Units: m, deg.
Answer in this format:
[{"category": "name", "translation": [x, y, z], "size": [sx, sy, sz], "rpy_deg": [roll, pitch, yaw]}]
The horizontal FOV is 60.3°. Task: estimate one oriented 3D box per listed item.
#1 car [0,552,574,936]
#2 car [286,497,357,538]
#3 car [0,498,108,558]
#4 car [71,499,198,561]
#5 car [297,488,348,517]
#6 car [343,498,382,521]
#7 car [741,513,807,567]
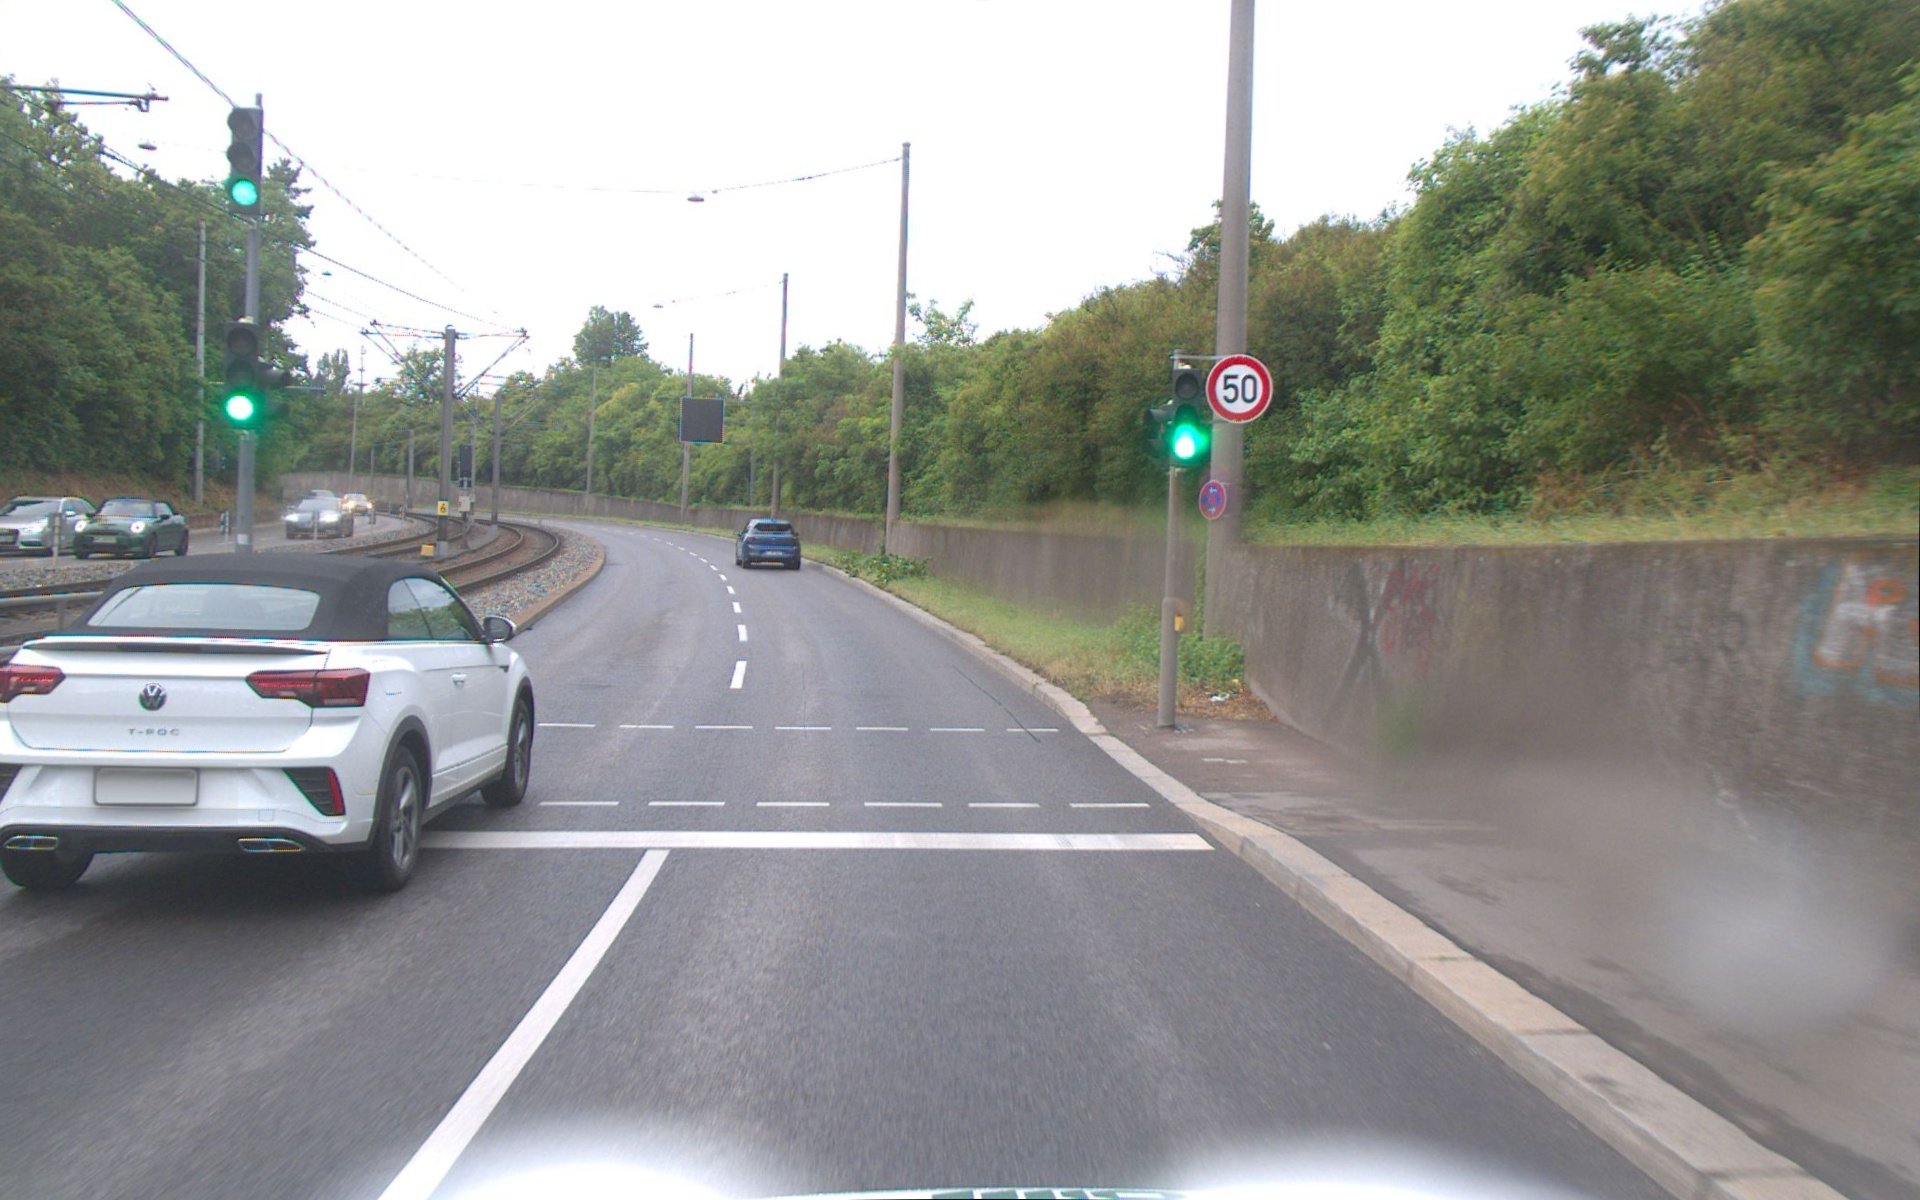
[{"category": "car", "translation": [-3.467, 0.527, 9.009], "size": [1.834, 1.550, 4.539], "rpy_deg": [0, 2, -2]}, {"category": "car", "translation": [-23.779, -3.114, 61.749], "size": [1.829, 1.463, 4.840], "rpy_deg": [0, 3, -13]}, {"category": "car", "translation": [-23.021, -1.829, 41.369], "size": [1.787, 1.403, 4.694], "rpy_deg": [0, 3, -11]}, {"category": "car", "translation": [-19.948, -1.687, 40.106], "size": [1.602, 1.408, 3.888], "rpy_deg": [0, 2, -9]}, {"category": "car", "translation": [-40.608, -6.217, 105.289], "size": [1.771, 1.698, 4.678], "rpy_deg": [0, 4, -37]}, {"category": "car", "translation": [-41.545, -6.295, 114.956], "size": [1.691, 1.439, 3.986], "rpy_deg": [1, 3, -34]}, {"category": "car", "translation": [-5.698, -1.858, 50.362], "size": [1.731, 1.527, 3.992], "rpy_deg": [2, 3, -10]}]
